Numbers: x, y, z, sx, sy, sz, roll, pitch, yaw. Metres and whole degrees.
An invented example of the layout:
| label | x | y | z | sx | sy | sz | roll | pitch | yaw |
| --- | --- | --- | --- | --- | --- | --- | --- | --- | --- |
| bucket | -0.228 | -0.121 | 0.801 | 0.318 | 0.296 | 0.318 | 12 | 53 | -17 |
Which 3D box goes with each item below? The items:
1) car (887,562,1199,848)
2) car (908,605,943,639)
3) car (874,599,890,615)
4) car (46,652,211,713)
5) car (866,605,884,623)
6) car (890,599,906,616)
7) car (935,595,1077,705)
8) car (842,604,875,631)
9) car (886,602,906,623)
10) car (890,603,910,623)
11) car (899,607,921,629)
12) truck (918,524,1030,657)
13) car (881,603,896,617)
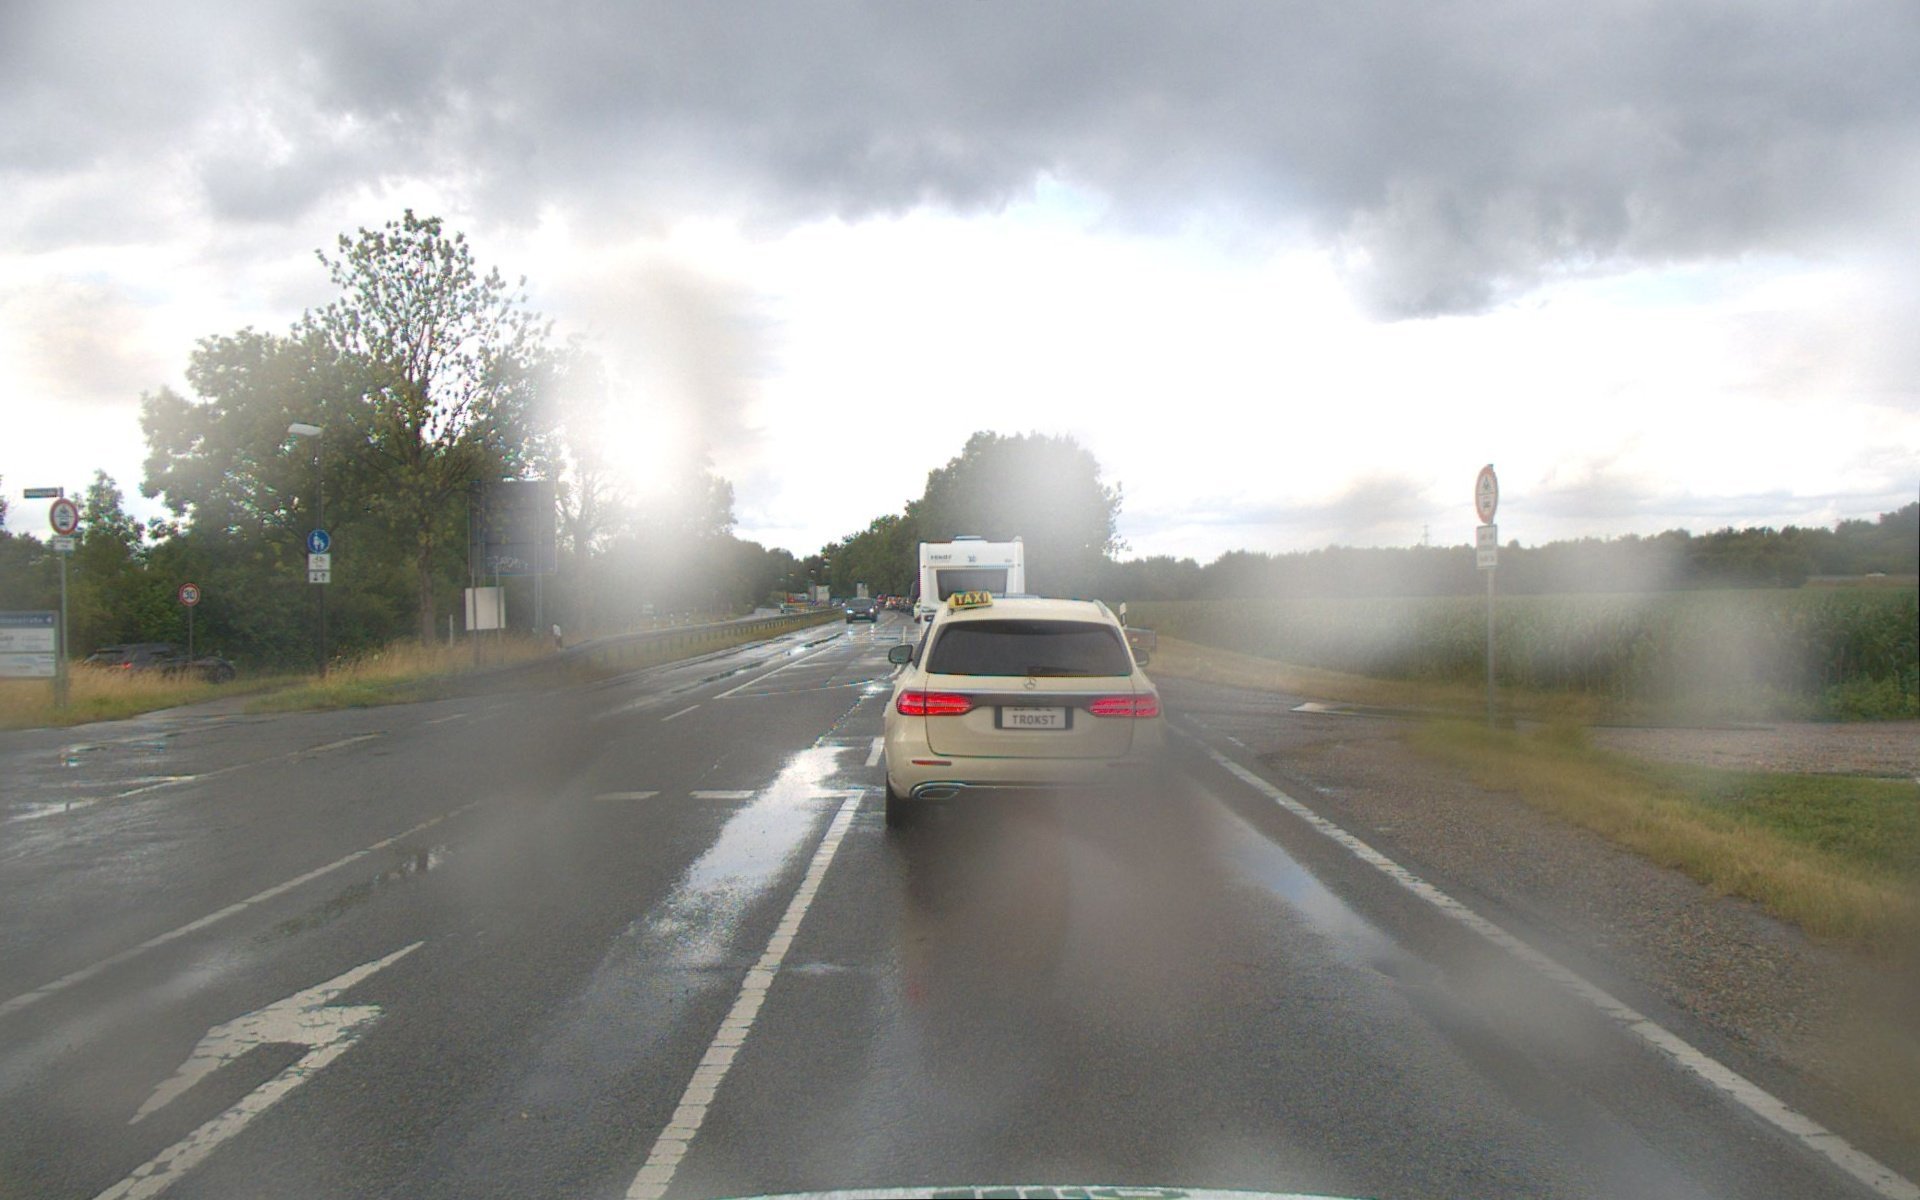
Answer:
| label | x | y | z | sx | sy | sz | roll | pitch | yaw |
| --- | --- | --- | --- | --- | --- | --- | --- | --- | --- |
| car | 0.456 | 0.608 | 11.609 | 1.805 | 1.646 | 3.999 | 0 | 0 | -1 |
| car | -1.944 | 1.228 | 93.775 | 1.876 | 1.873 | 3.796 | -1 | 0 | 0 |
| car | -9.889 | 0.914 | 209.046 | 1.858 | 1.928 | 3.840 | -1 | 0 | -4 |
| car | -25.041 | 2.460 | 50.032 | 2.253 | 1.574 | 4.635 | 1 | 0 | 6 |
| car | -8.119 | 1.334 | 158.555 | 1.548 | 1.668 | 3.441 | -1 | 0 | -1 |
| car | -7.132 | 0.859 | 191.308 | 1.705 | 1.892 | 3.784 | -1 | 0 | -1 |
| car | 0.620 | 0.706 | 25.234 | 1.953 | 1.488 | 3.999 | 2 | 0 | -1 |
| car | -6.317 | 1.049 | 102.915 | 1.791 | 1.601 | 3.999 | 1 | 0 | 0 |
| car | -6.431 | 1.223 | 166.106 | 1.814 | 2.049 | 3.810 | -1 | 0 | -1 |
| car | -5.701 | 1.235 | 157.503 | 1.841 | 1.792 | 3.833 | -1 | 0 | -1 |
| car | -4.168 | 1.500 | 138.773 | 1.755 | 1.808 | 3.720 | -1 | 0 | -1 |
| truck | 0.256 | -0.219 | 38.496 | 2.315 | 2.776 | 7.313 | -1 | 0 | -1 |
| car | -8.692 | 1.237 | 200.846 | 1.714 | 1.691 | 3.669 | -1 | 0 | -5 |
